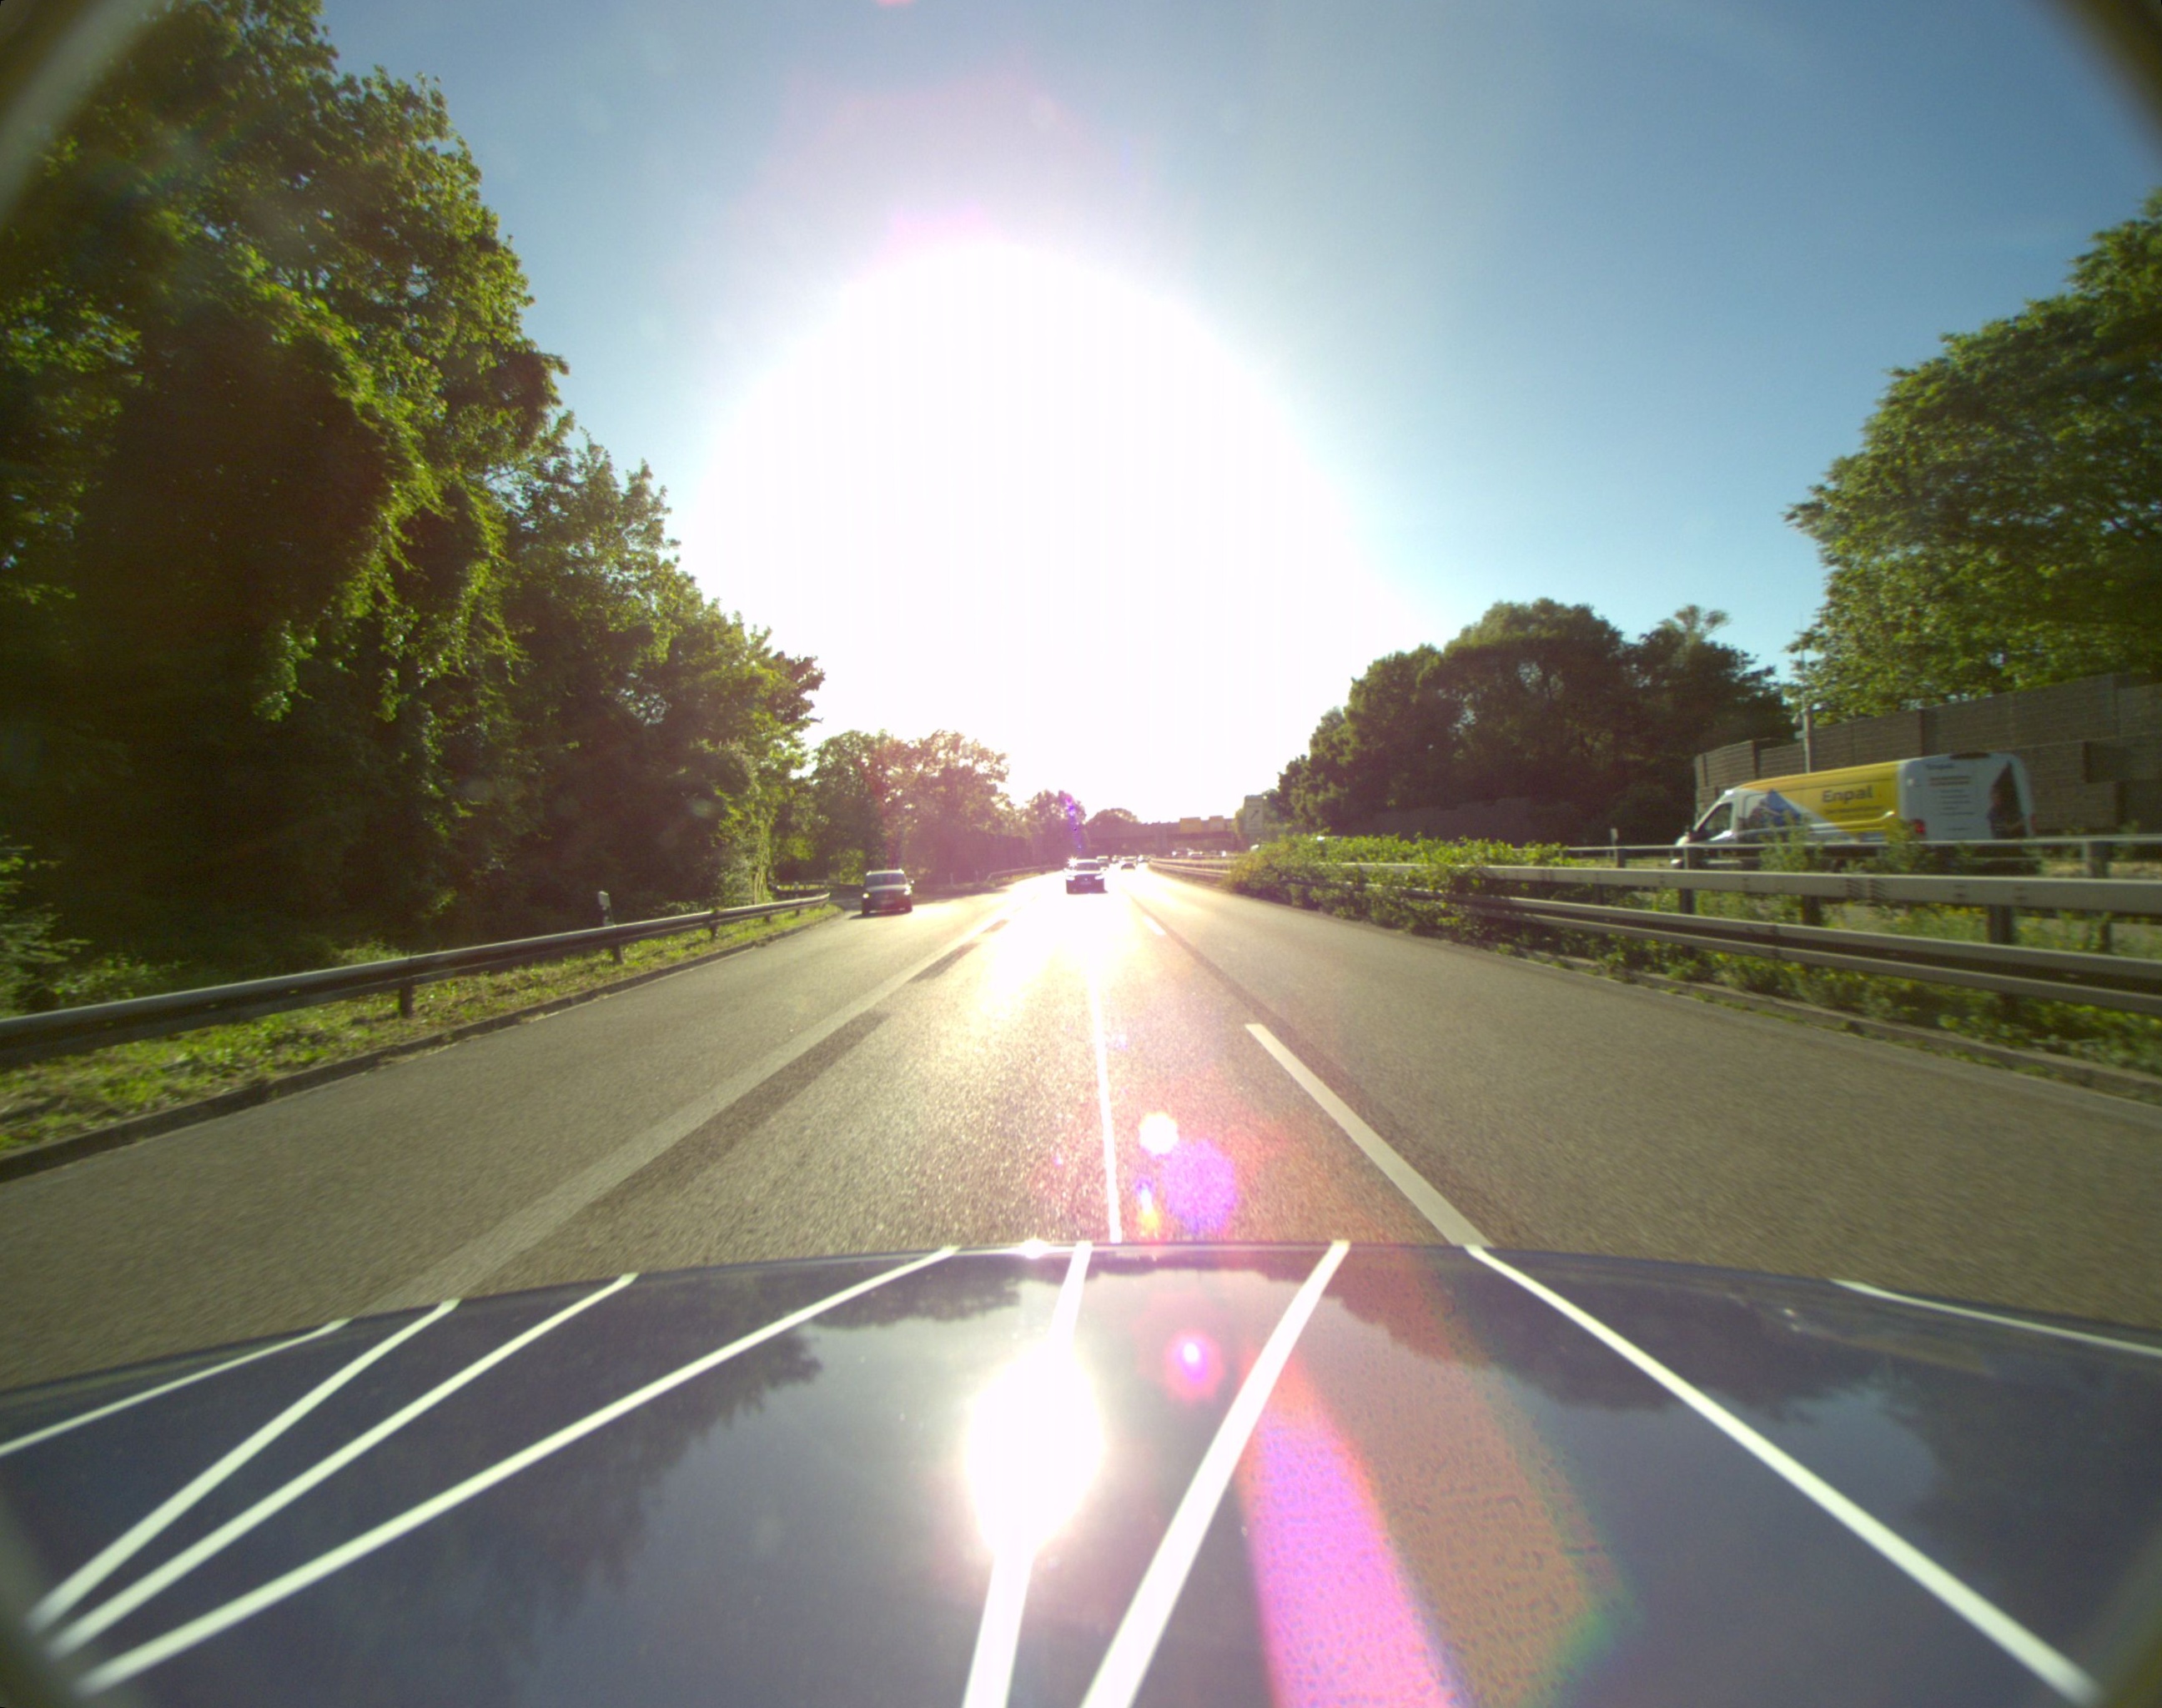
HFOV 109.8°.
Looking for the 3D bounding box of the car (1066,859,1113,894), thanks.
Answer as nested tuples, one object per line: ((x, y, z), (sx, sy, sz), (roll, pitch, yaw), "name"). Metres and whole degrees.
((0.461, 0.978, 35.148), (1.998, 1.406, 4.831), (-2, 0, 2), "car")

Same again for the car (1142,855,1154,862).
((13.525, 0.895, 153.464), (1.997, 1.406, 4.834), (-4, 0, 9), "car")

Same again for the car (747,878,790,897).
((-26.269, 2.802, 63.786), (3.990, 1.277, 1.646), (-6, -1, 40), "car")

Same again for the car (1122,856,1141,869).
((5.788, 0.959, 87.070), (1.998, 1.406, 4.832), (-4, 0, 2), "car")

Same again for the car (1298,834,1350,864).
((20.667, -0.373, 64.901), (2.083, 2.267, 5.372), (-5, -1, -7), "car")

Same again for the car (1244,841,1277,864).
((15.883, -0.077, 67.543), (1.826, 1.810, 4.622), (-5, -1, 1), "car")

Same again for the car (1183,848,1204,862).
((13.869, 0.152, 93.837), (1.826, 1.471, 4.622), (-5, -1, 0), "car")

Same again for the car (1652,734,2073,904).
((14.986, -0.533, 15.396), (2.152, 2.595, 6.053), (-5, -1, 1), "car")

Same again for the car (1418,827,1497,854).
((24.552, -0.873, 49.682), (2.006, 1.326, 4.088), (-4, -1, -34), "car")

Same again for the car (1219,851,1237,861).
((22.329, 0.299, 115.569), (1.998, 1.379, 4.030), (-5, -1, 3), "car")

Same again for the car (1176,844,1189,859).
((20.573, -0.489, 154.512), (2.126, 2.667, 6.590), (-5, -1, 4), "car")

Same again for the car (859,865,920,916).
((-7.177, 1.351, 28.805), (1.747, 1.652, 3.998), (-5, -1, -9), "car")

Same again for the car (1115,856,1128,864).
((7.825, 1.093, 146.741), (1.997, 1.406, 4.834), (-4, 0, 9), "car")

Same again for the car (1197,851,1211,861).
((22.726, 0.380, 140.245), (1.906, 1.610, 4.698), (-5, -1, 3), "car")

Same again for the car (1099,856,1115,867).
((3.596, 1.036, 104.549), (1.998, 1.406, 4.832), (-4, 0, 4), "car")

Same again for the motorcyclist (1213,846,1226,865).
((12.649, 0.124, 69.349), (0.824, 1.616, 1.046), (-5, 0, 1), "motorcyclist")
